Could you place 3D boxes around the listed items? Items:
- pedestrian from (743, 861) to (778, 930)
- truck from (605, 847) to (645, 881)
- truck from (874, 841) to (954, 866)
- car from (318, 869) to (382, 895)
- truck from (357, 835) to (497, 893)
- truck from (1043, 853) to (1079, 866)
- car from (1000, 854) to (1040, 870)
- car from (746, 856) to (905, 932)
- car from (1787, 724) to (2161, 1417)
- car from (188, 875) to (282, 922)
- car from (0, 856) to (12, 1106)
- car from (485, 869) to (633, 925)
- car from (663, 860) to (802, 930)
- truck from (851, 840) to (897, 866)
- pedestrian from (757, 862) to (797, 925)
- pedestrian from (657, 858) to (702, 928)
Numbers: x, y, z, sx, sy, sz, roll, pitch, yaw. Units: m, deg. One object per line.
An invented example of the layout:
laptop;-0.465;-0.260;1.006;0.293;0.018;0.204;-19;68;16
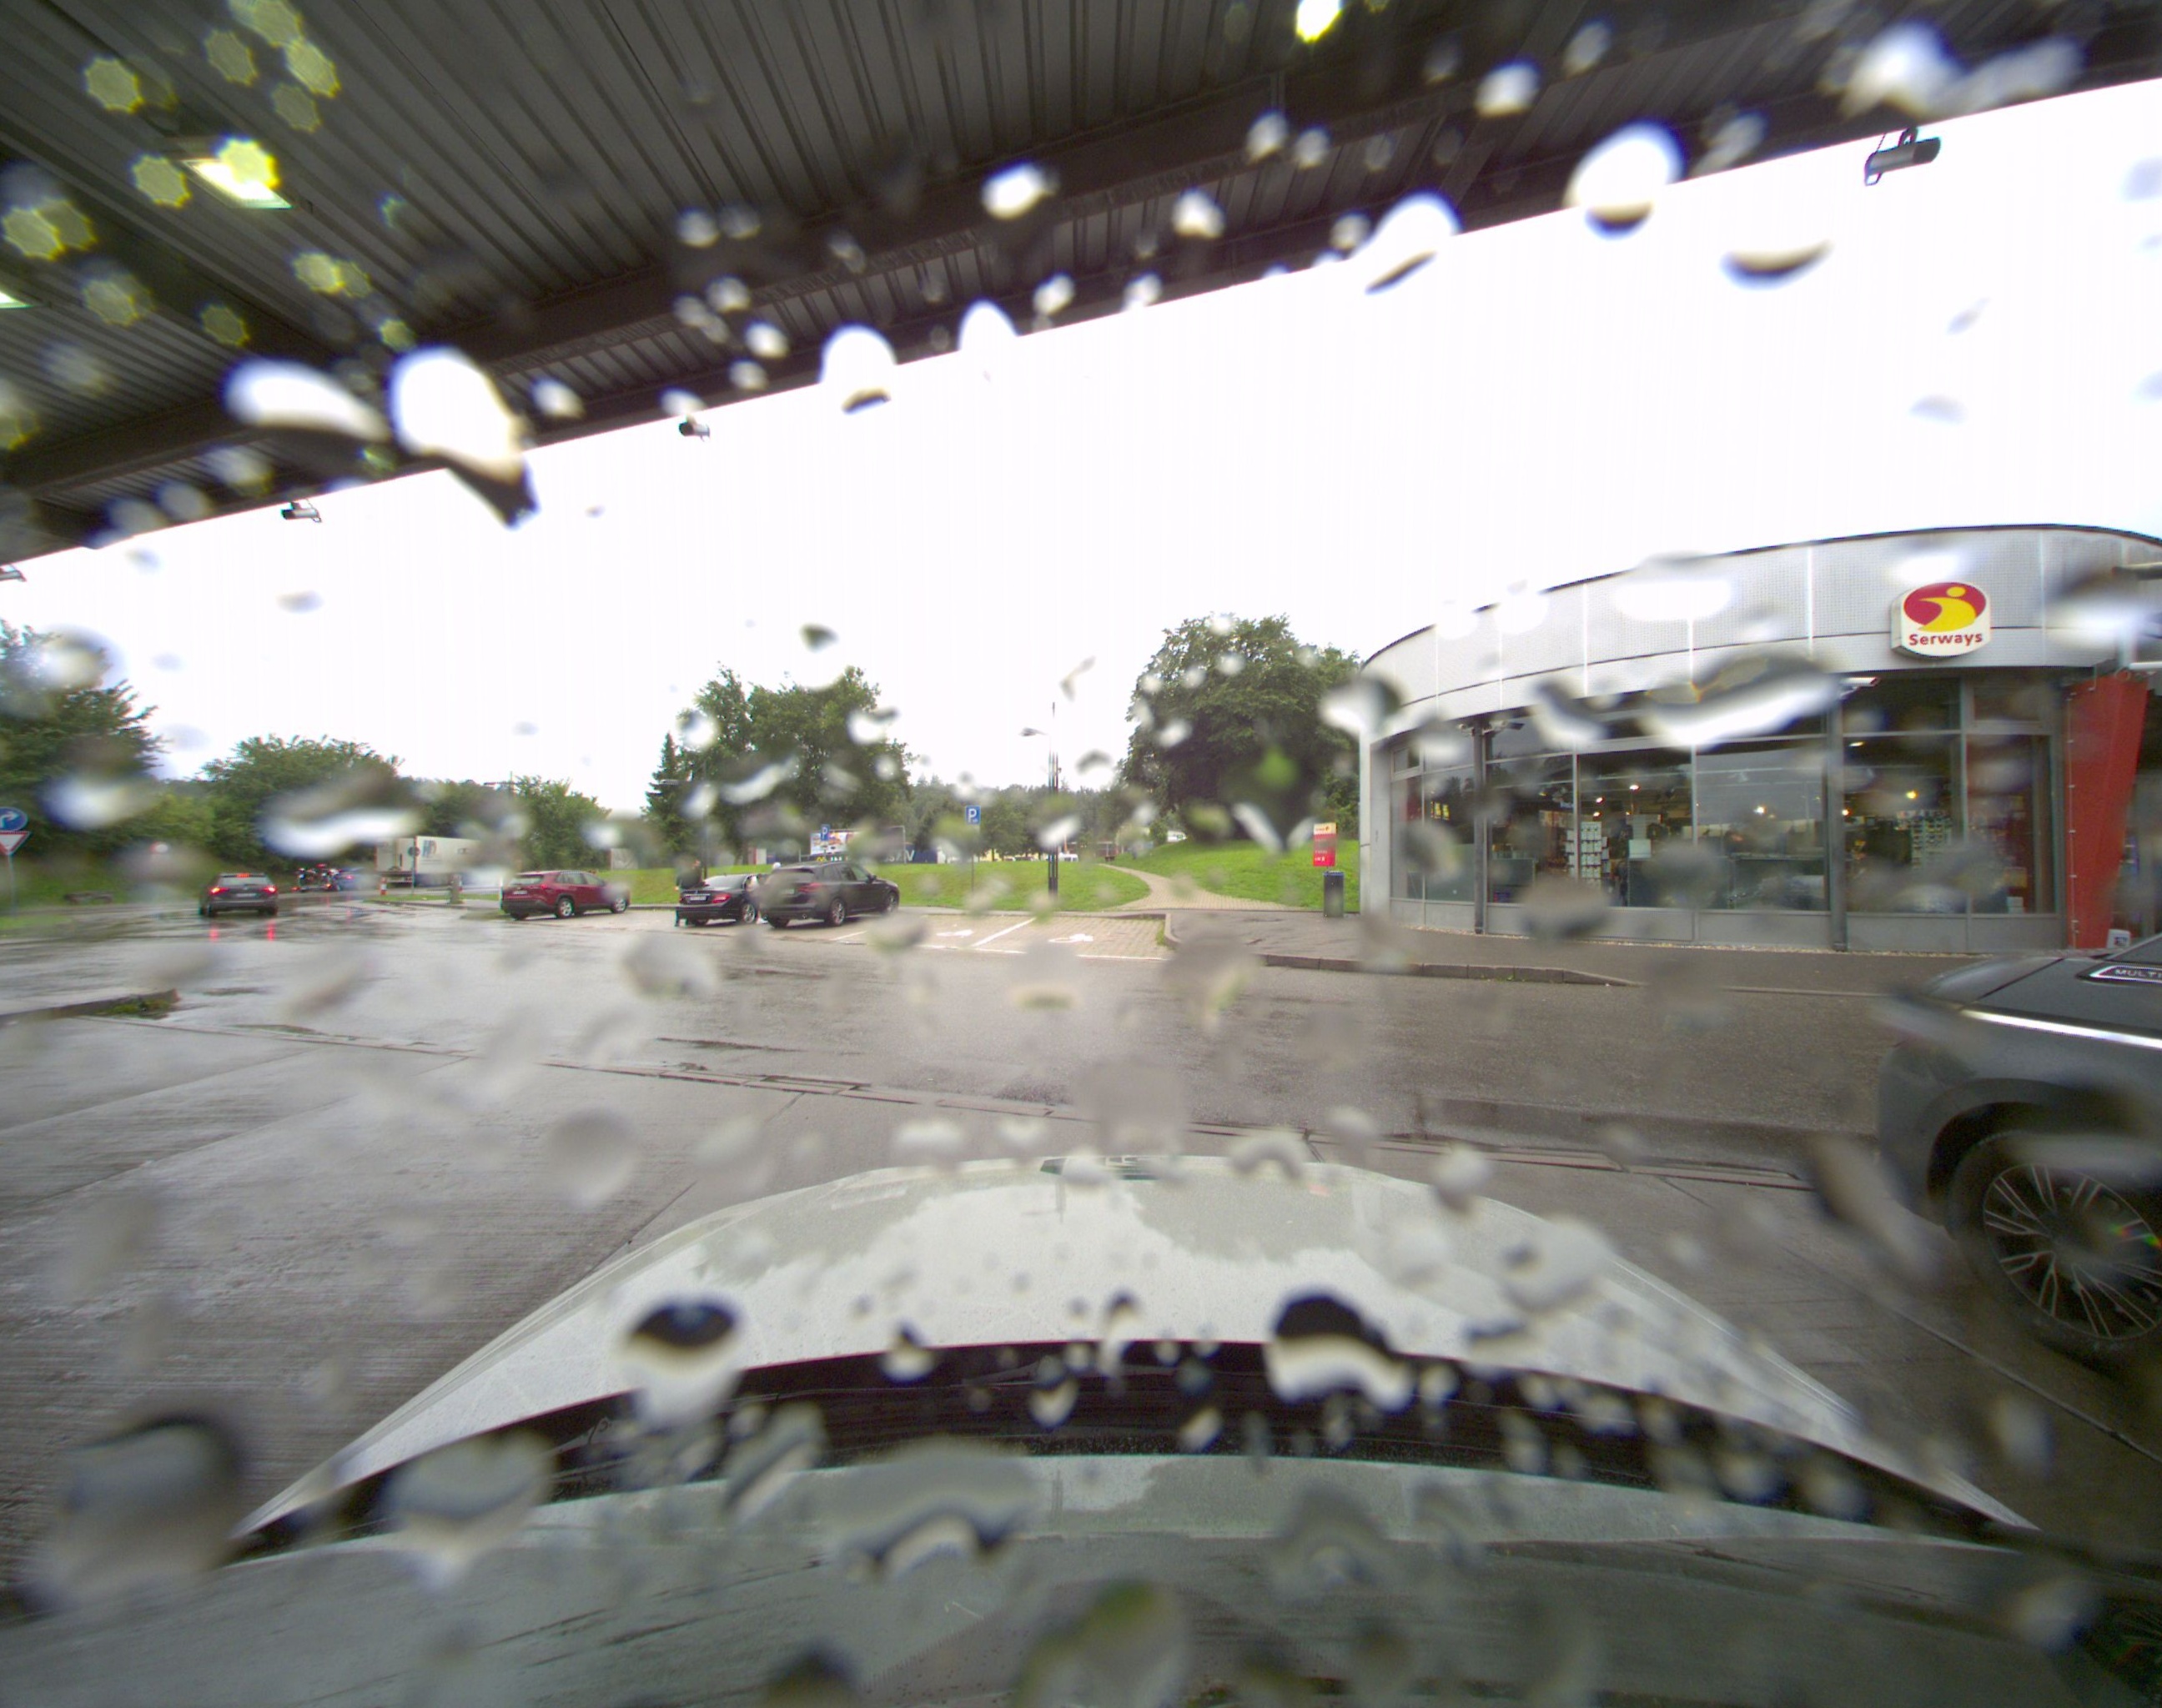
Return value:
pedestrian;-8.908;1.134;22.688;0.701;1.887;0.951;0;-1;-9
truck;-43.471;0.905;77.805;2.488;3.085;7.300;0;-1;-23
truck;-20.753;-0.055;102.334;2.165;2.920;13.175;-1;-1;26
car;-50.342;1.876;56.159;1.814;1.681;3.927;0;-1;-18
truck;-55.444;0.836;69.962;3.550;4.340;16.899;0;-1;-18
truck;-3.250;0.880;134.093;5.356;2.014;2.381;-1;-1;26
car;-6.832;0.910;91.818;4.154;1.783;1.824;0;-1;-35
car;-6.646;0.971;21.768;2.002;1.711;4.360;-2;0;14
car;3.678;0.544;0.666;1.854;1.798;5.142;0;-1;2
car;-32.793;1.680;31.551;3.948;1.678;2.013;-2;-1;36
car;-7.964;0.802;2.664;1.854;1.608;5.273;0;-1;2
car;-18.134;1.441;28.580;1.928;1.644;4.352;-2;0;7
car;-9.832;1.082;23.412;2.010;1.711;4.344;-2;0;1
truck;-24.185;-0.087;95.442;2.165;2.920;5.419;-1;-1;27
pedestrian;-8.111;1.040;21.697;0.955;1.631;0.698;0;-1;-25
pedestrian;-11.076;1.049;22.460;0.882;1.887;0.708;-1;-1;26
